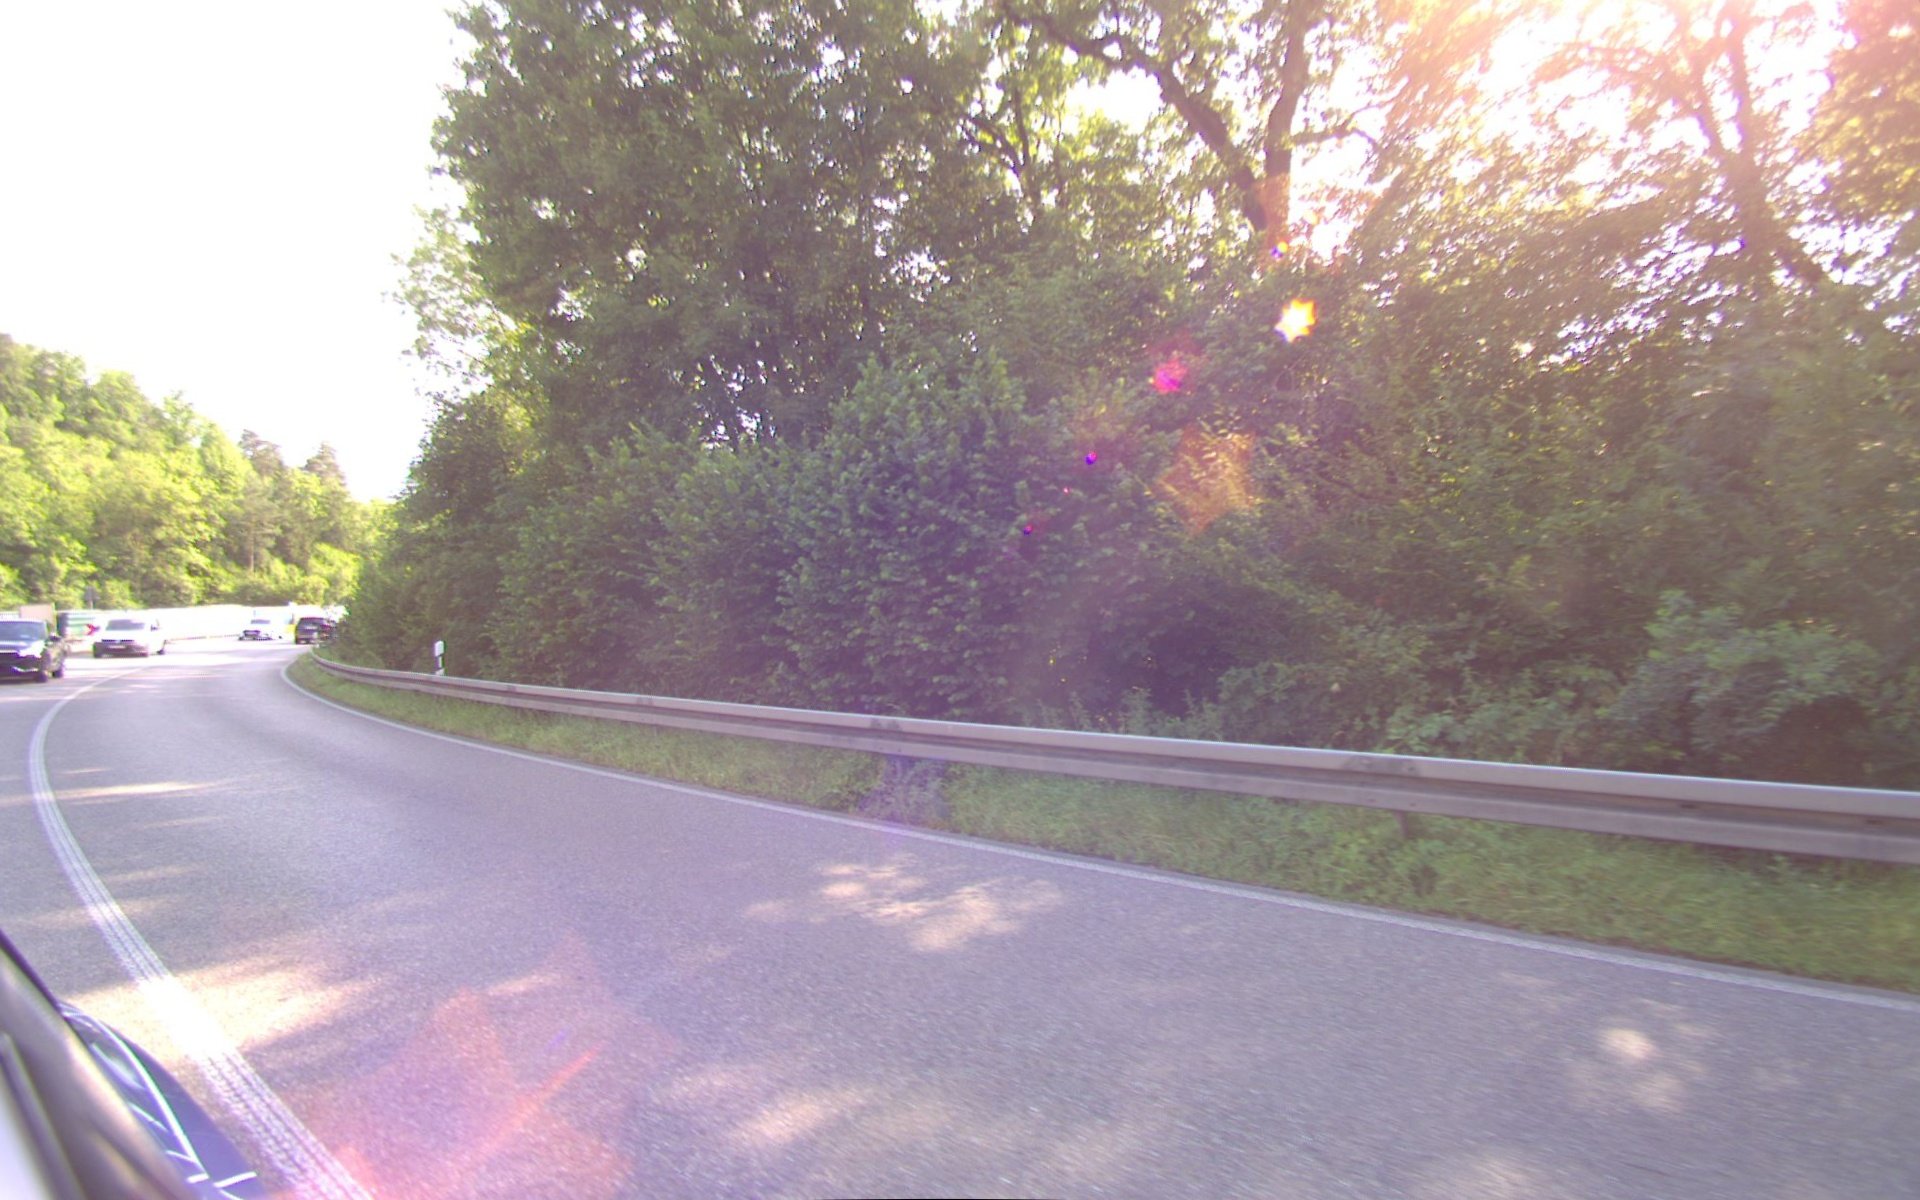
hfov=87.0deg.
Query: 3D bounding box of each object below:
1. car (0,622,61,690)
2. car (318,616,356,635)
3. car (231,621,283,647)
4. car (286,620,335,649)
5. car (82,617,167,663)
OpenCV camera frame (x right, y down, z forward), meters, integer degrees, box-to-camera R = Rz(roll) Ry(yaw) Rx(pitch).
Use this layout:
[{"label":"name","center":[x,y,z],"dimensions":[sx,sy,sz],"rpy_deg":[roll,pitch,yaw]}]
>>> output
[{"label":"car","center":[-24.588,1.396,25.979],"dimensions":[1.819,1.581,4.267],"rpy_deg":[0,-1,-36]},{"label":"car","center":[-53.215,2.176,86.486],"dimensions":[1.829,1.431,4.433],"rpy_deg":[-3,1,-20]},{"label":"car","center":[-45.028,2.144,64.932],"dimensions":[1.865,1.456,4.491],"rpy_deg":[-3,1,-24]},{"label":"car","center":[-38.187,2.031,59.596],"dimensions":[1.841,1.666,4.564],"rpy_deg":[1,-2,-25]},{"label":"car","center":[-34.483,1.591,41.891],"dimensions":[1.837,1.733,4.778],"rpy_deg":[0,-1,-29]}]
